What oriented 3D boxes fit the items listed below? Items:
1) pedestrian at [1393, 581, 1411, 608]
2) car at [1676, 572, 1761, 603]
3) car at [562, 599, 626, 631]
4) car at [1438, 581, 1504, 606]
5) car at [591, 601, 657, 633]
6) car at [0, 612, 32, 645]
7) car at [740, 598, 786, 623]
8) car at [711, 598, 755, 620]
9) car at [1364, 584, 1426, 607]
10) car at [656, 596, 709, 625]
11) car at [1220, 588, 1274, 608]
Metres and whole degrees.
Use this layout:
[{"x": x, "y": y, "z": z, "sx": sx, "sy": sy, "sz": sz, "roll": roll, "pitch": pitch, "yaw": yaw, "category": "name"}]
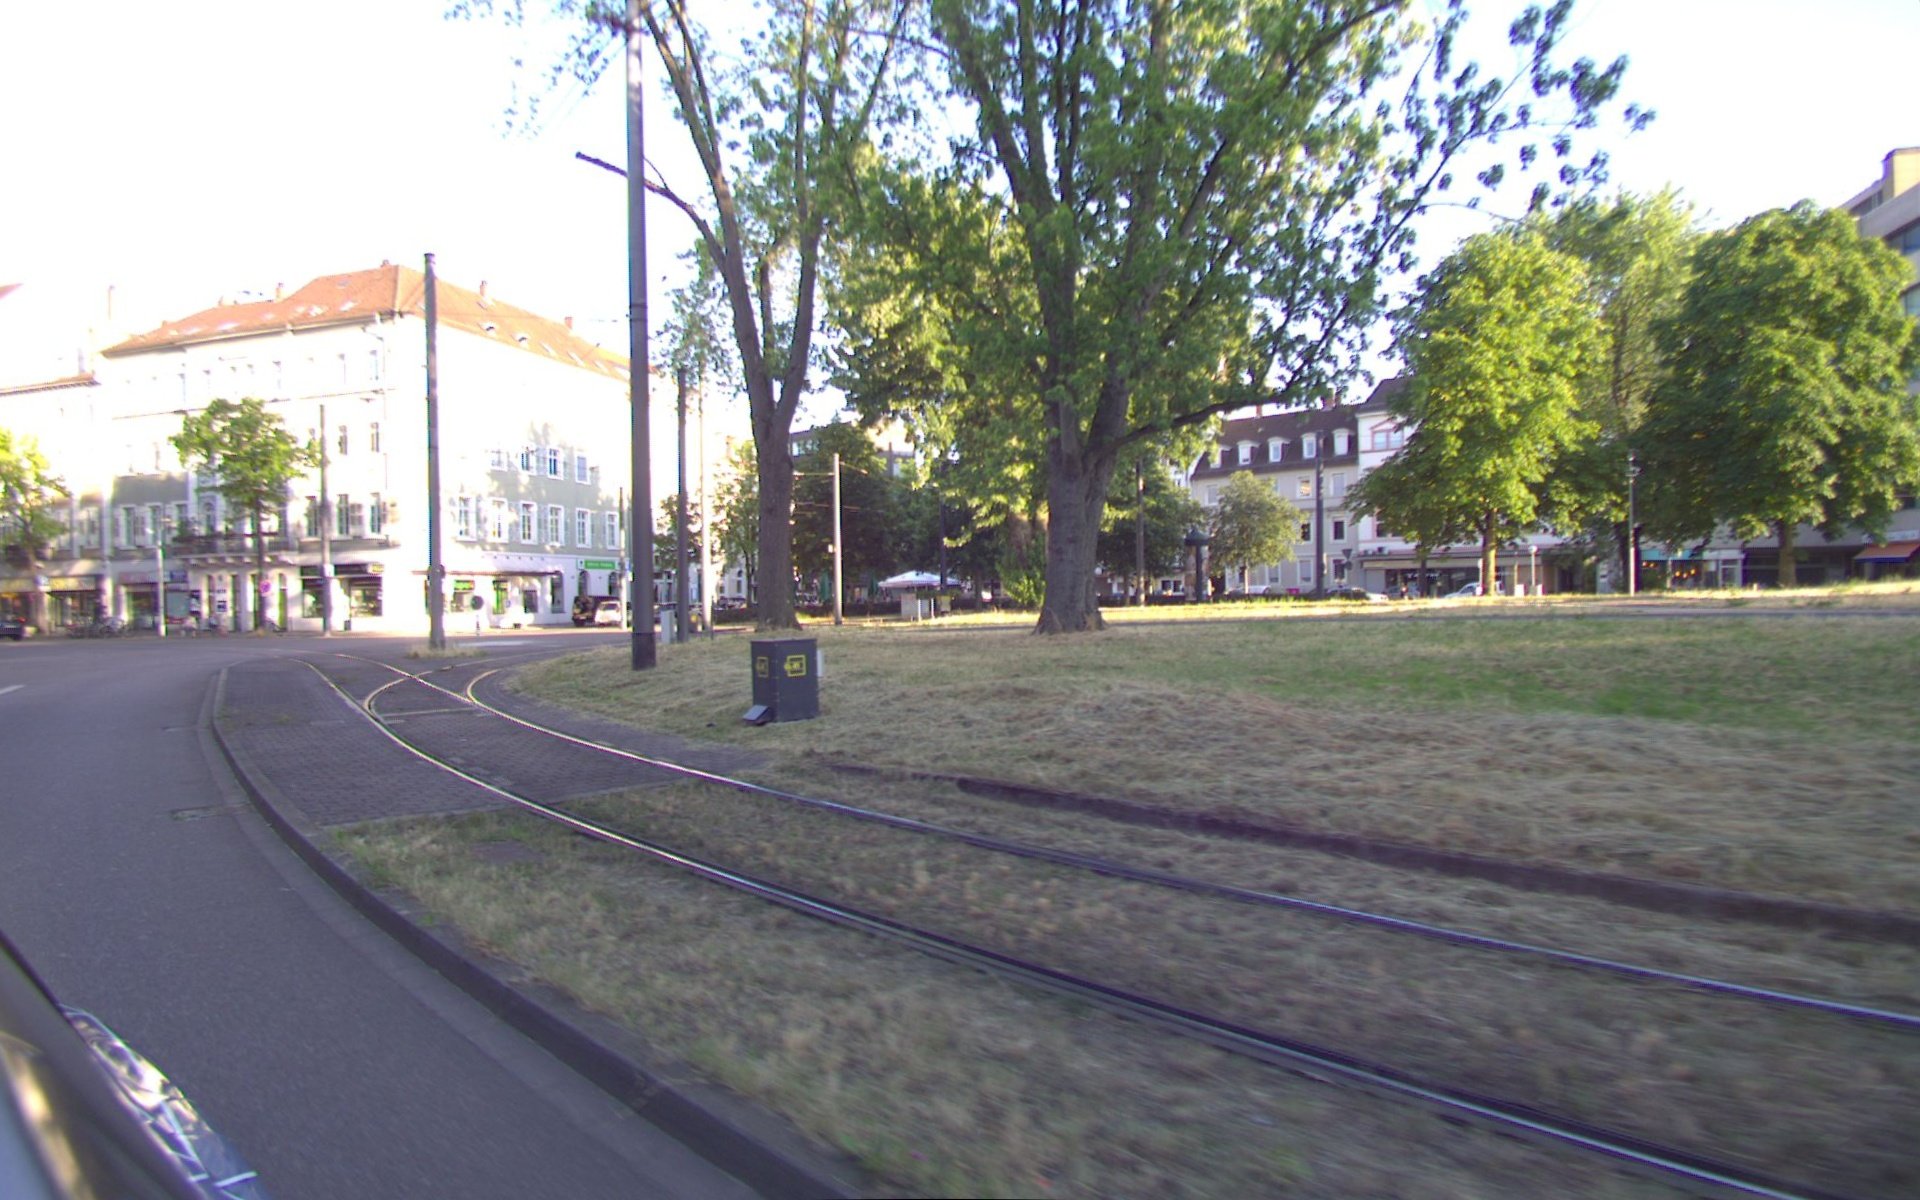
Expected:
[{"x": 28.723, "y": -0.345, "z": 65.811, "sx": 0.800, "sy": 1.714, "sz": 0.789, "roll": -2, "pitch": -1, "yaw": 42, "category": "pedestrian"}, {"x": 48.646, "y": -0.789, "z": 64.948, "sx": 4.206, "sy": 1.808, "sz": 1.914, "roll": -2, "pitch": -1, "yaw": 40, "category": "car"}, {"x": -23.347, "y": 0.907, "z": 64.696, "sx": 1.980, "sy": 1.918, "sz": 3.983, "roll": -2, "pitch": 0, "yaw": 13, "category": "car"}, {"x": 37.719, "y": -0.480, "z": 74.768, "sx": 3.997, "sy": 1.676, "sz": 1.736, "roll": -2, "pitch": -1, "yaw": 40, "category": "car"}, {"x": -19.590, "y": 0.961, "z": 59.168, "sx": 1.841, "sy": 1.719, "sz": 3.983, "roll": -2, "pitch": 0, "yaw": 13, "category": "car"}, {"x": -52.113, "y": 1.590, "z": 53.627, "sx": 4.694, "sy": 1.696, "sz": 1.993, "roll": -2, "pitch": 0, "yaw": 12, "category": "car"}, {"x": -14.500, "y": 0.773, "z": 74.763, "sx": 1.841, "sy": 1.719, "sz": 3.983, "roll": -2, "pitch": 0, "yaw": 13, "category": "car"}, {"x": -18.252, "y": 0.693, "z": 81.597, "sx": 1.841, "sy": 1.719, "sz": 3.983, "roll": -2, "pitch": 0, "yaw": 13, "category": "car"}, {"x": 33.654, "y": -0.349, "z": 78.268, "sx": 4.001, "sy": 1.592, "sz": 1.772, "roll": -2, "pitch": -1, "yaw": 44, "category": "car"}, {"x": -19.901, "y": 0.743, "z": 72.860, "sx": 1.980, "sy": 1.918, "sz": 3.983, "roll": -2, "pitch": 0, "yaw": 13, "category": "car"}, {"x": 24.537, "y": -0.143, "z": 86.611, "sx": 4.001, "sy": 1.592, "sz": 1.772, "roll": -2, "pitch": -1, "yaw": 44, "category": "car"}]
